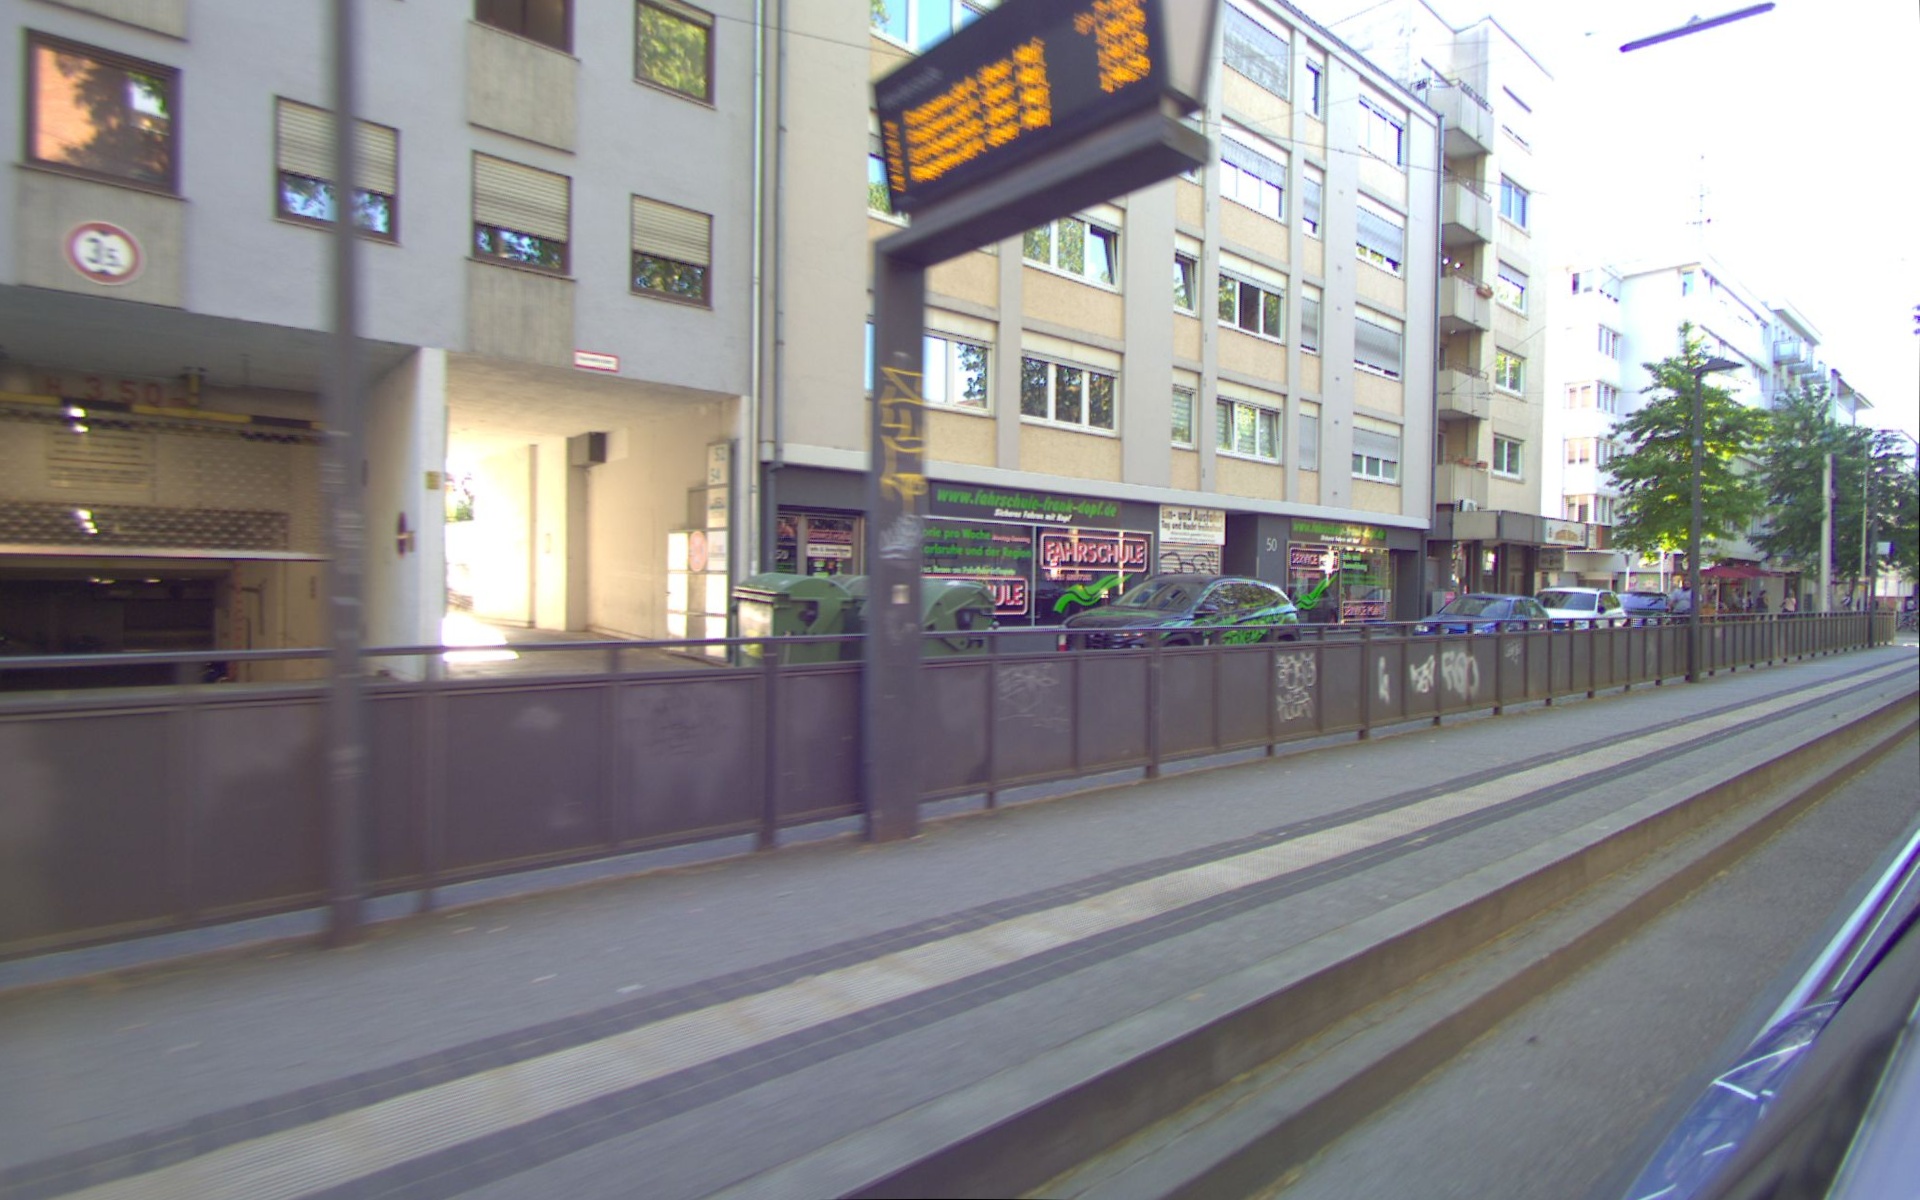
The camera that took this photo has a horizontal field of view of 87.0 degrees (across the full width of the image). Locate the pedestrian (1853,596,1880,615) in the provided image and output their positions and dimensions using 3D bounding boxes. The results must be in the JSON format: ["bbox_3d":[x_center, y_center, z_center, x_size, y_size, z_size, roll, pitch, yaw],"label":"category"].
[{"bbox_3d":[49.175,0.284,54.913,0.650,1.040,0.999,0,0,8],"label":"pedestrian"}]

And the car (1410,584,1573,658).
[{"bbox_3d":[11.633,0.379,22.039,4.173,1.458,1.747,-1,1,-41],"label":"car"}]

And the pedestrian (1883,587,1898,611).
[{"bbox_3d":[65.107,-0.064,70.803,0.855,1.657,0.643,0,3,-43],"label":"pedestrian"}]

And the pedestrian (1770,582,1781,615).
[{"bbox_3d":[45.958,-0.093,57.019,0.481,1.818,0.432,0,0,-42],"label":"pedestrian"}]

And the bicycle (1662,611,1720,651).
[{"bbox_3d":[18.673,0.774,25.842,1.905,0.949,0.790,-1,1,-41],"label":"bicycle"}]

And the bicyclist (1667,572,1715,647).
[{"bbox_3d":[18.684,0.229,25.857,1.080,1.854,0.768,0,0,-41],"label":"bicyclist"}]

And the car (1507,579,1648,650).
[{"bbox_3d":[15.509,0.298,25.343,4.338,1.626,1.803,-1,1,-41],"label":"car"}]

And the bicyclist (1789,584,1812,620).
[{"bbox_3d":[41.446,0.104,49.905,0.948,1.739,0.678,0,0,-39],"label":"bicyclist"}]

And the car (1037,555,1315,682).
[{"bbox_3d":[3.336,0.209,15.163,4.321,1.636,1.860,-1,1,-41],"label":"car"}]

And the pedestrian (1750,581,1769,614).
[{"bbox_3d":[44.813,-0.134,56.714,0.620,1.828,0.526,0,0,2],"label":"pedestrian"}]

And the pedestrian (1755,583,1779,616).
[{"bbox_3d":[40.969,-0.034,51.392,0.666,1.680,0.814,0,0,-35],"label":"pedestrian"}]

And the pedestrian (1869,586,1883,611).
[{"bbox_3d":[64.577,-0.131,71.357,0.919,1.698,0.597,0,3,-43],"label":"pedestrian"}]

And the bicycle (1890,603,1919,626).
[{"bbox_3d":[43.674,0.653,46.139,0.473,1.006,1.817,0,1,-43],"label":"bicycle"}]

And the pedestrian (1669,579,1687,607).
[{"bbox_3d":[34.547,-0.333,48.704,0.703,1.303,0.536,0,0,-40],"label":"pedestrian"}]

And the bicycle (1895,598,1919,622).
[{"bbox_3d":[44.379,0.463,46.709,1.814,1.114,0.490,0,1,42],"label":"bicycle"}]

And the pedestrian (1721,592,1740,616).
[{"bbox_3d":[38.347,0.197,50.381,0.513,1.190,0.659,0,0,-43],"label":"pedestrian"}]

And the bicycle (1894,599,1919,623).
[{"bbox_3d":[44.790,0.513,47.185,1.814,1.114,0.474,0,1,42],"label":"bicycle"}]

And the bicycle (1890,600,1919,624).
[{"bbox_3d":[45.294,0.567,47.920,0.516,1.114,1.818,0,2,-41],"label":"bicycle"}]

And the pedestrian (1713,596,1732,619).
[{"bbox_3d":[36.790,0.374,48.836,0.513,1.092,0.642,0,0,-43],"label":"pedestrian"}]

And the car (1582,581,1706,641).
[{"bbox_3d":[20.359,0.266,30.070,4.367,1.636,1.997,-1,1,-41],"label":"car"}]

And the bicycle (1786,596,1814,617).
[{"bbox_3d":[41.383,0.322,49.851,1.986,0.975,0.678,-1,1,-39],"label":"bicycle"}]

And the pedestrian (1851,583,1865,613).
[{"bbox_3d":[55.092,-0.109,62.082,0.590,1.806,0.980,1,0,43],"label":"pedestrian"}]
